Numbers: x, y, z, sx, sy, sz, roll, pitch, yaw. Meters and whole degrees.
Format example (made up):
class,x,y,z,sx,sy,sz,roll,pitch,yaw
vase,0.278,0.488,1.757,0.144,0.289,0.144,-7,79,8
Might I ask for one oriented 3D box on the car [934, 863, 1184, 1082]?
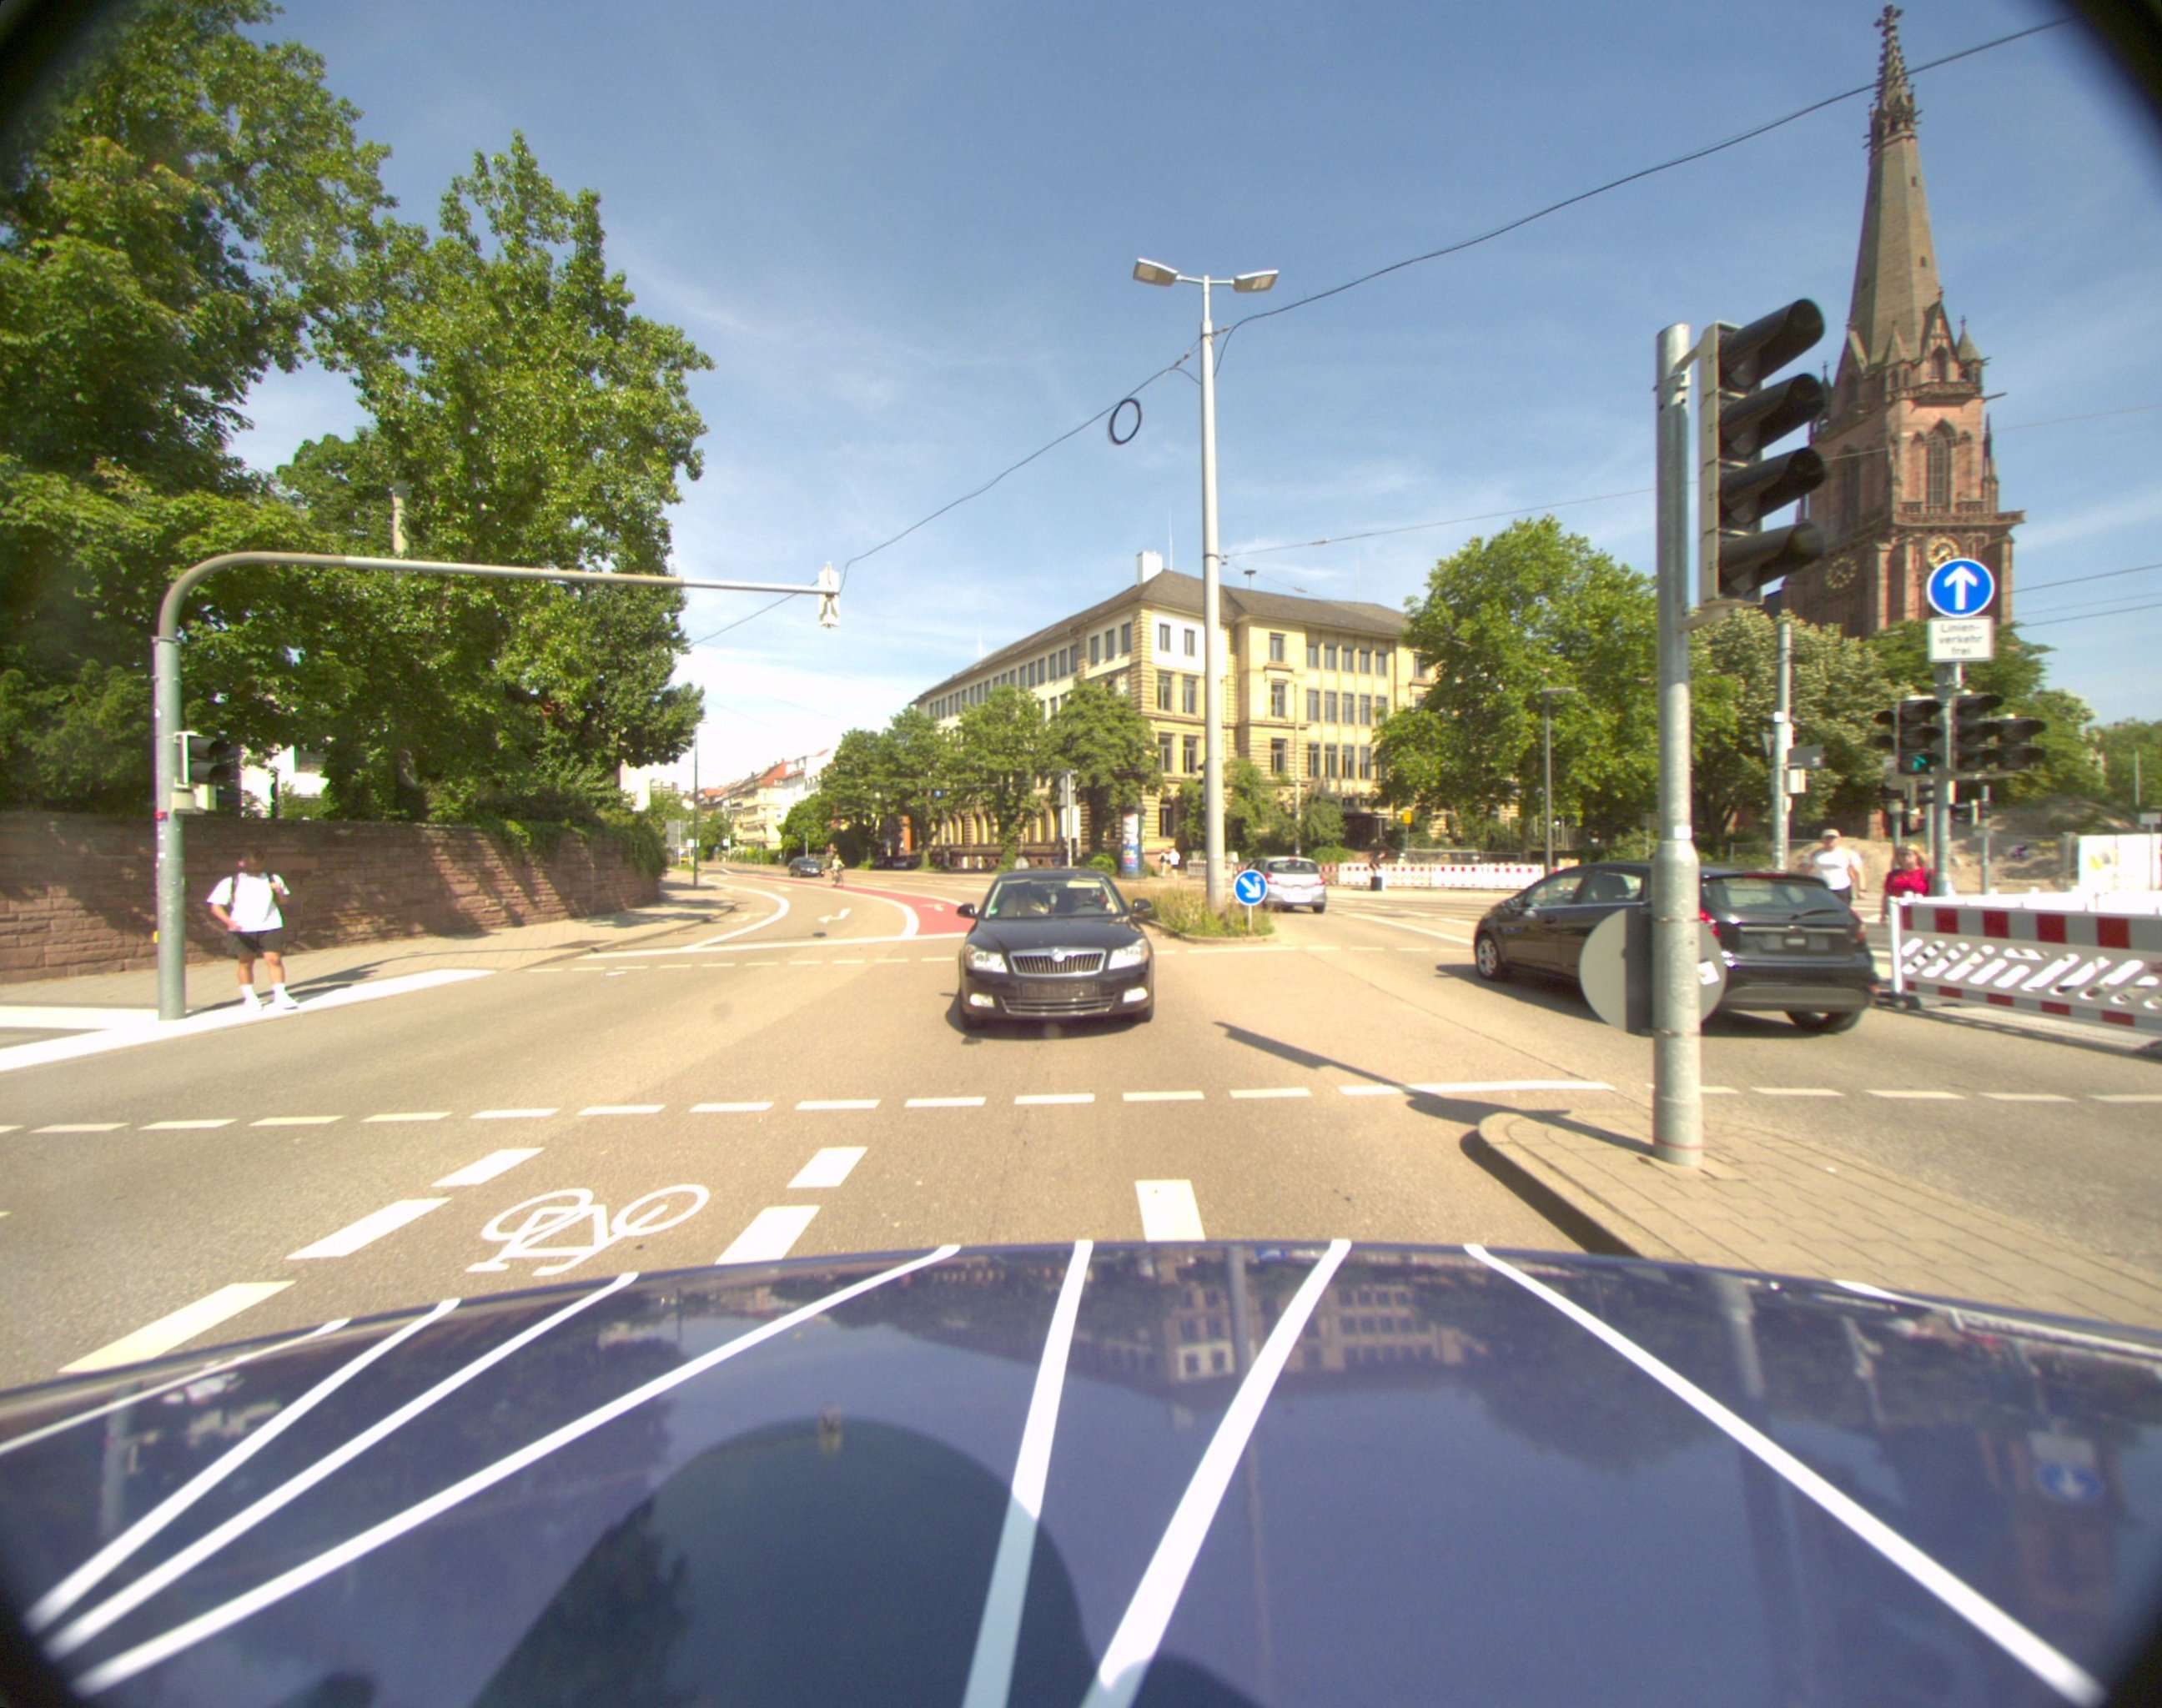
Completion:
class,x,y,z,sx,sy,sz,roll,pitch,yaw
car,-0.203,0.918,8.106,1.864,1.510,4.826,0,1,-1

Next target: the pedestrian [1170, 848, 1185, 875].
class,x,y,z,sx,sy,sz,roll,pitch,yaw
pedestrian,6.068,0.474,47.986,0.743,1.739,0.586,0,1,33

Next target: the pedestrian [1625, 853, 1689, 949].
class,x,y,z,sx,sy,sz,roll,pitch,yaw
pedestrian,9.627,0.766,12.722,0.423,1.534,0.667,-4,1,-19

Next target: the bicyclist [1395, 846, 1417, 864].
class,x,y,z,sx,sy,sz,roll,pitch,yaw
bicyclist,17.451,0.043,40.802,0.684,0.921,0.867,-1,1,-38

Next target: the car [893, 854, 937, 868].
class,x,y,z,sx,sy,sz,roll,pitch,yaw
car,-17.082,0.687,78.251,4.007,1.455,1.995,0,0,-35

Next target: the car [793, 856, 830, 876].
class,x,y,z,sx,sy,sz,roll,pitch,yaw
car,-20.060,0.860,56.499,1.805,1.368,4.266,-2,1,-30

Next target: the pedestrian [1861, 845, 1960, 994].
class,x,y,z,sx,sy,sz,roll,pitch,yaw
pedestrian,9.268,0.702,8.512,0.350,1.606,0.686,0,1,2

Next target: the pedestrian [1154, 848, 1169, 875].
class,x,y,z,sx,sy,sz,roll,pitch,yaw
pedestrian,5.049,0.470,47.885,0.743,1.739,0.586,0,1,35

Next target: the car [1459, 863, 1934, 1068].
class,x,y,z,sx,sy,sz,roll,pitch,yaw
car,5.528,0.850,7.570,1.670,1.442,3.818,1,0,1

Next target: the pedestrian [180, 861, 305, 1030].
class,x,y,z,sx,sy,sz,roll,pitch,yaw
pedestrian,-9.752,1.026,8.876,0.654,1.863,0.795,1,0,-18

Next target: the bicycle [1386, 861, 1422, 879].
class,x,y,z,sx,sy,sz,roll,pitch,yaw
bicycle,17.367,0.832,40.916,0.703,0.941,1.661,-1,1,-39

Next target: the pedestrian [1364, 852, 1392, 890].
class,x,y,z,sx,sy,sz,roll,pitch,yaw
pedestrian,12.861,0.727,32.918,0.939,1.646,0.845,0,1,9

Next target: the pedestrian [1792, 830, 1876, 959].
class,x,y,z,sx,sy,sz,roll,pitch,yaw
pedestrian,10.979,0.568,11.099,0.839,1.802,0.651,-1,0,45

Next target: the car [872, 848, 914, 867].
class,x,y,z,sx,sy,sz,roll,pitch,yaw
car,-20.453,0.333,82.883,4.007,2.002,1.995,0,0,-35

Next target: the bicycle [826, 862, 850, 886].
class,x,y,z,sx,sy,sz,roll,pitch,yaw
bicycle,-12.870,1.037,40.267,0.687,1.215,2.181,-1,1,-32

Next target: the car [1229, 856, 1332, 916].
class,x,y,z,sx,sy,sz,roll,pitch,yaw
car,5.283,0.796,20.613,1.798,1.403,4.000,1,0,1

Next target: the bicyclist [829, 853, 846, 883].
class,x,y,z,sx,sy,sz,roll,pitch,yaw
bicyclist,-12.871,0.722,40.218,0.589,1.539,0.929,-4,2,-31
